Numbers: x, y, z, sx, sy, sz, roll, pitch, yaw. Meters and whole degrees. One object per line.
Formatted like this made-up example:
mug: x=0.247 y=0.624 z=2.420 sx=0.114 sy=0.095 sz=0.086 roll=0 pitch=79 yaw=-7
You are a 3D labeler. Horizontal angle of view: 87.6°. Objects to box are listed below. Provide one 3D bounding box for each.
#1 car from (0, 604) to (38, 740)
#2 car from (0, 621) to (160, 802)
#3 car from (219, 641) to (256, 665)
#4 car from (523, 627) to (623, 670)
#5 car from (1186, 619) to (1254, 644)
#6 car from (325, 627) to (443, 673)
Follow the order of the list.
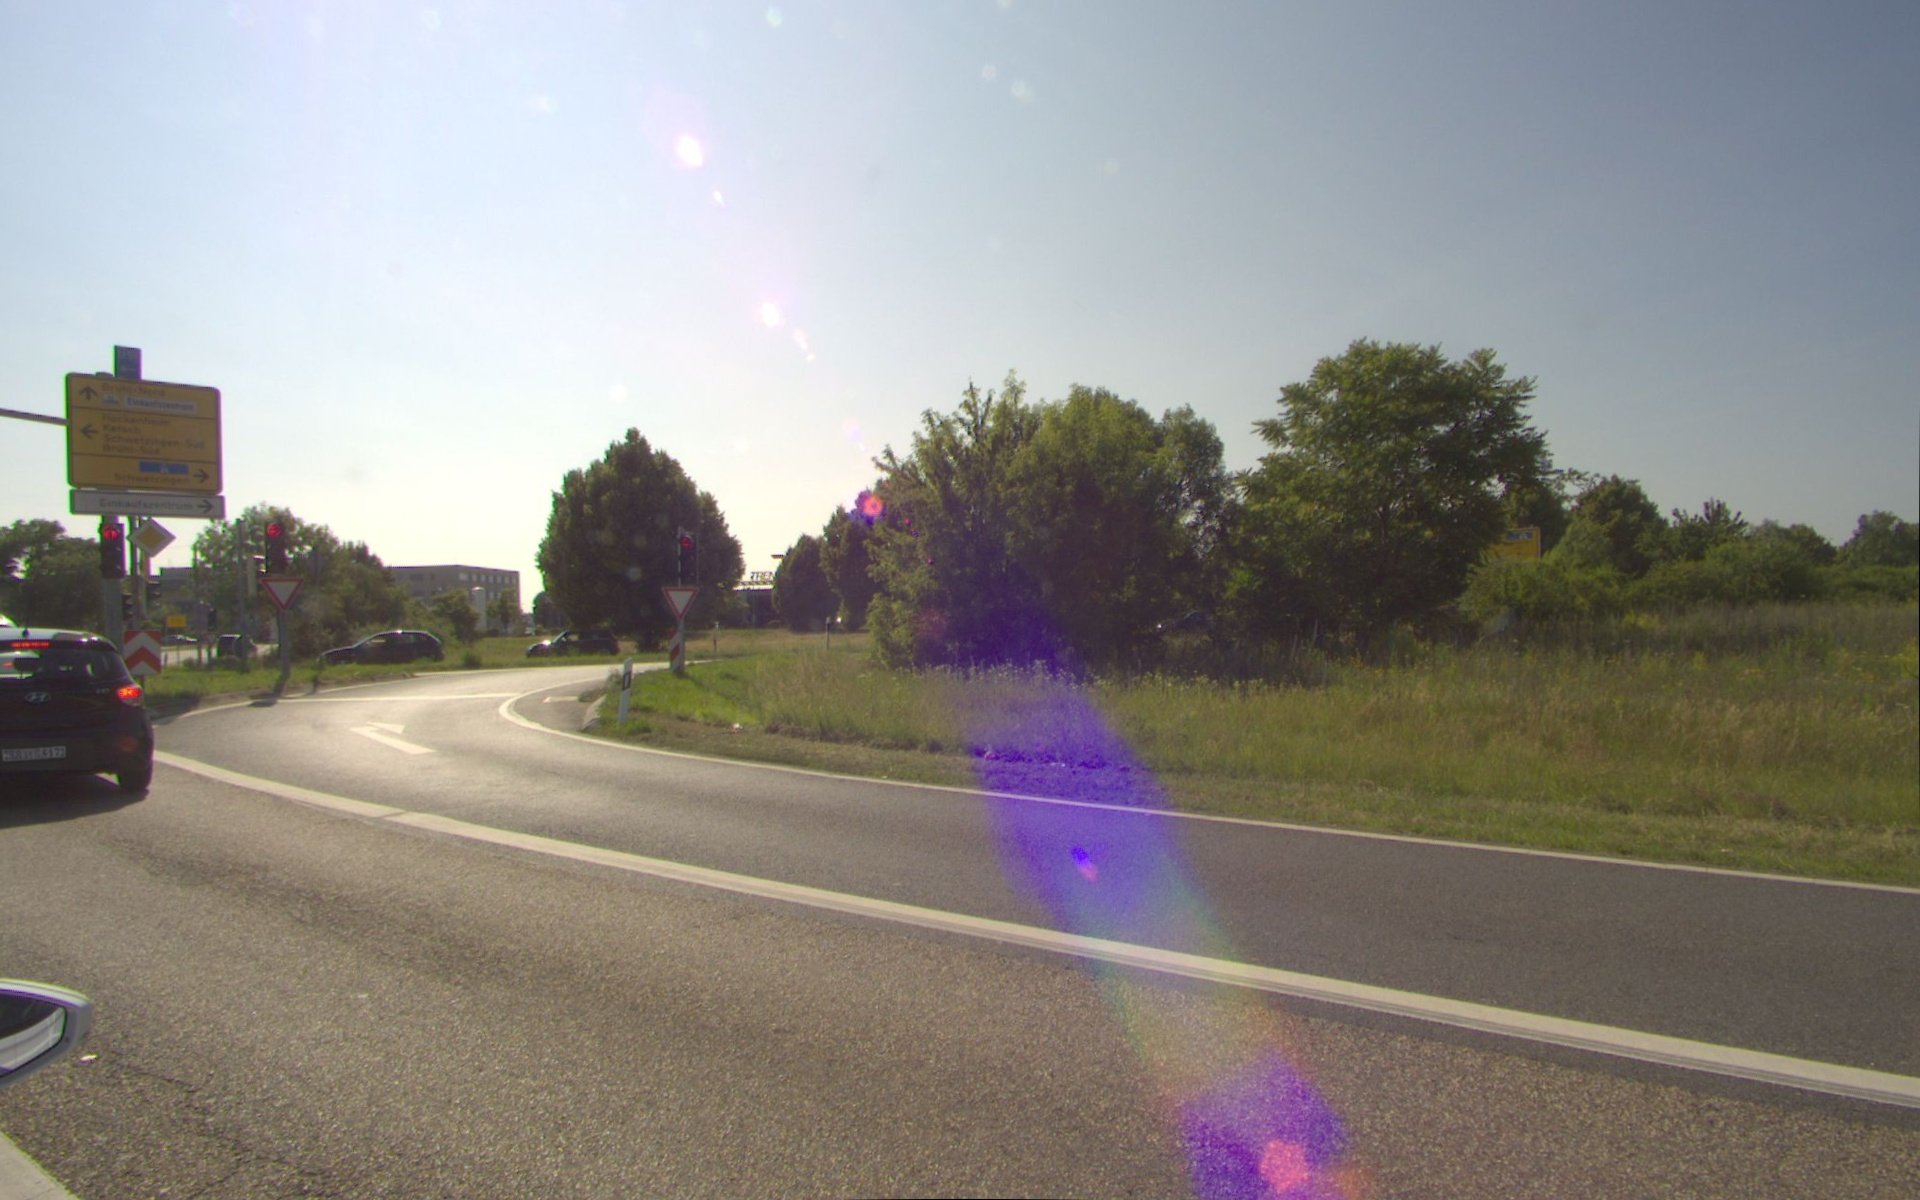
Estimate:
car: x=-13.679 y=0.926 z=13.296 sx=3.705 sy=1.698 sz=1.626 roll=-2 pitch=-2 yaw=39
car: x=-8.912 y=0.940 z=9.339 sx=3.255 sy=1.466 sz=1.626 roll=-1 pitch=-2 yaw=39
car: x=-51.745 y=3.754 z=71.723 sx=1.857 sy=1.694 sz=3.750 roll=1 pitch=-3 yaw=-32
car: x=-16.672 y=2.063 z=43.333 sx=3.814 sy=1.718 sz=1.825 roll=-1 pitch=0 yaw=-14
car: x=14.267 y=1.760 z=54.974 sx=3.562 sy=1.338 sz=1.525 roll=1 pitch=-2 yaw=-30
car: x=-20.004 y=1.729 z=34.881 sx=3.495 sy=1.535 sz=1.455 roll=1 pitch=-2 yaw=-30
